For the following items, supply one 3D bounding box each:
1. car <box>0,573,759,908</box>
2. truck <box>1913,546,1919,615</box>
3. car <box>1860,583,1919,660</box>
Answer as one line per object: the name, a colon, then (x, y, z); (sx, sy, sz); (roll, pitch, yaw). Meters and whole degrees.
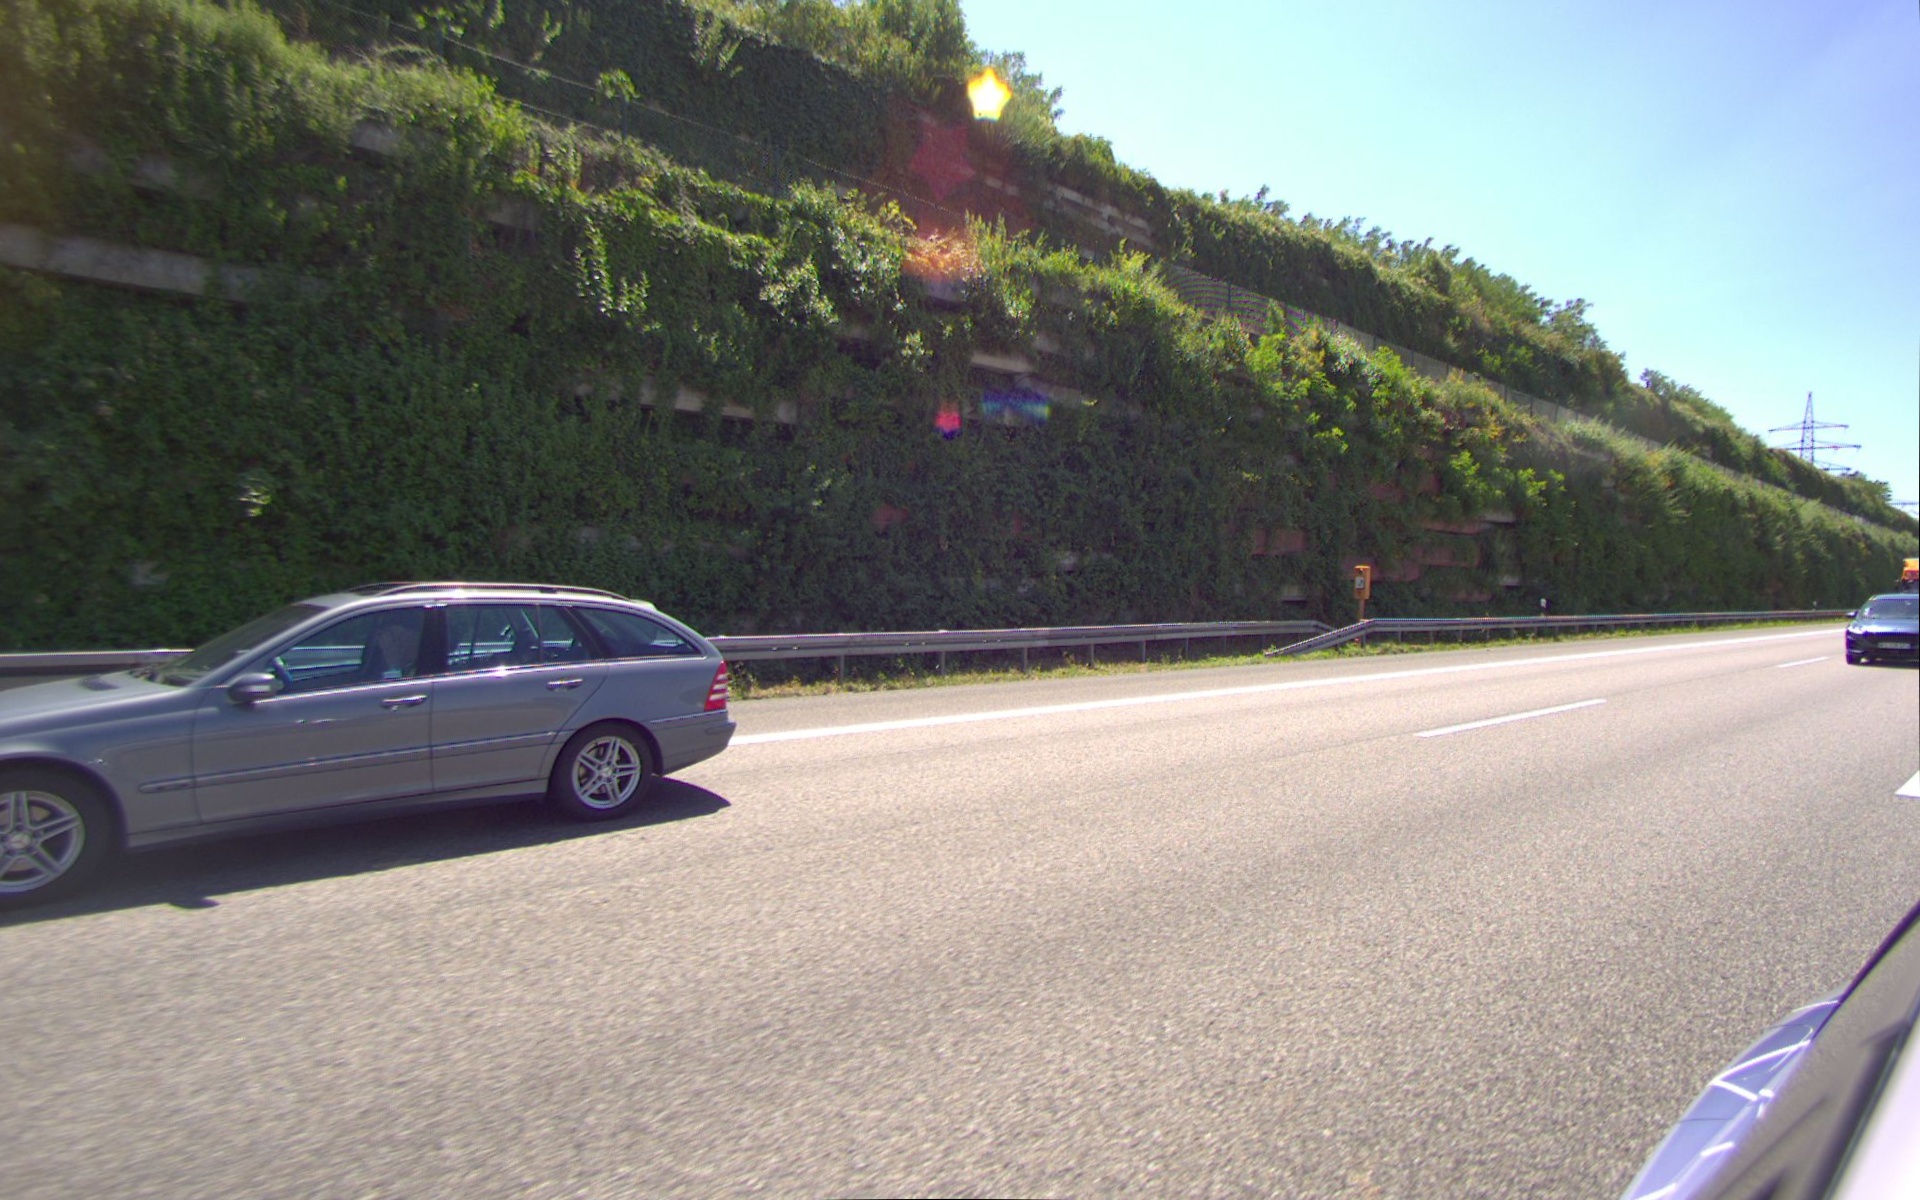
car: (-3.547, 0.587, 6.042); (4.376, 1.446, 1.687); (0, 1, -42)
truck: (59.990, -1.134, 61.352); (6.413, 4.042, 2.622); (0, 1, -42)
car: (22.472, 0.460, 23.547); (4.066, 1.674, 1.797); (0, 1, -41)
